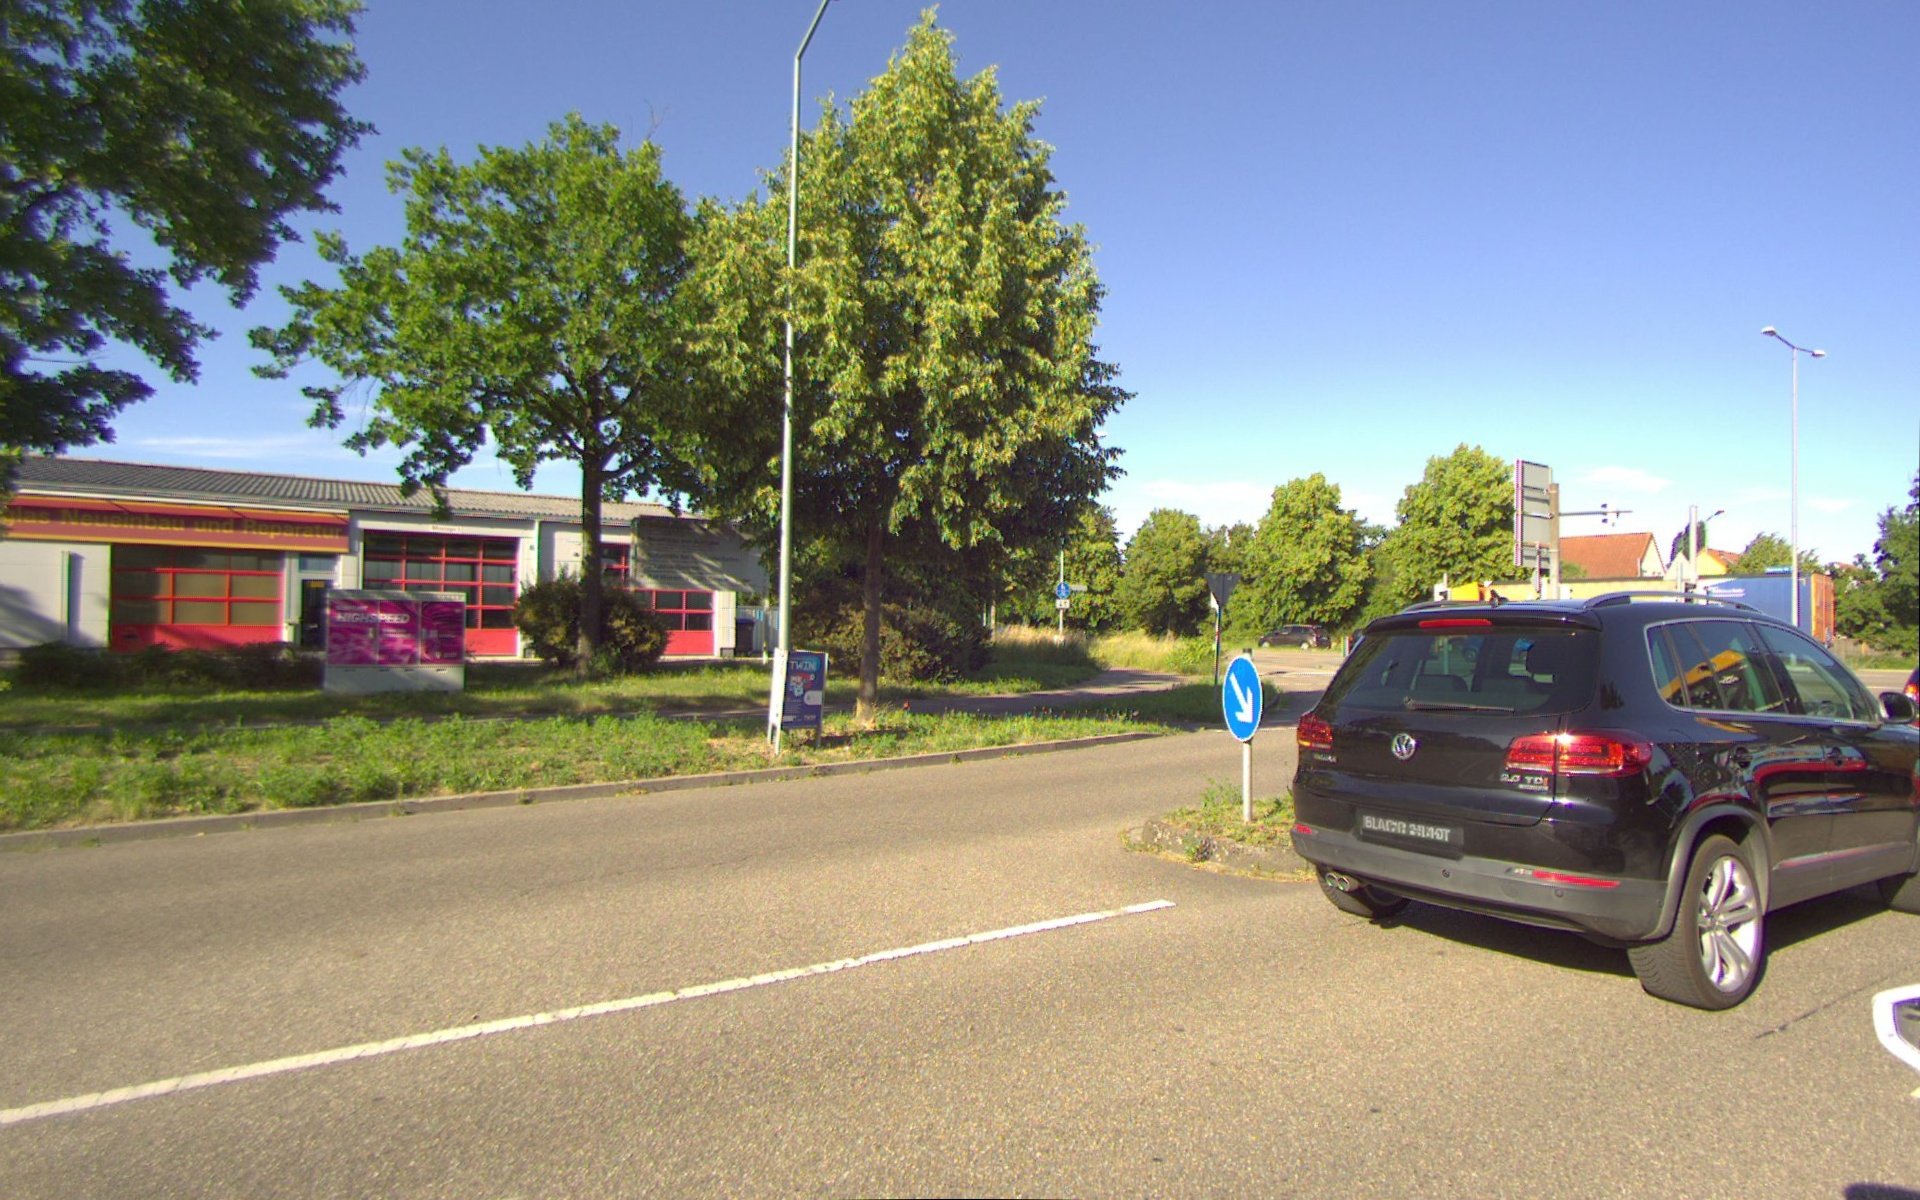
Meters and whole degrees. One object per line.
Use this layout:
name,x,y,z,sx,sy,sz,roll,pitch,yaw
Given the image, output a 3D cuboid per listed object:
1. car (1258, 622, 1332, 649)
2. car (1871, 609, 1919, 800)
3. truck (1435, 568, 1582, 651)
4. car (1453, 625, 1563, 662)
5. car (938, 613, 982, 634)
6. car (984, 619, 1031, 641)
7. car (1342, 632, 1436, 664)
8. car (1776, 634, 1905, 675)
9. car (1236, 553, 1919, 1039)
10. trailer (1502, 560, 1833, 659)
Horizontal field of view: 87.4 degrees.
car,19.686,2.068,59.124,1.550,1.461,3.960,2,-1,-35
car,10.228,0.897,9.224,3.988,1.642,1.744,0,-1,-32
truck,28.634,0.533,52.690,2.449,4.051,6.354,1,-1,-36
car,23.731,1.868,43.605,1.668,1.403,3.817,2,-1,-38
car,-0.022,2.136,91.180,1.982,1.737,3.957,2,-1,-37
car,3.827,2.426,81.864,1.680,1.573,3.959,2,-1,-36
car,20.308,2.251,47.660,1.494,1.330,3.817,2,-1,-38
car,38.227,2.341,43.688,1.678,1.633,3.961,1,-1,-35
car,3.547,0.788,5.324,3.957,1.695,1.812,2,-3,-31
trailer,32.526,0.482,47.219,2.446,4.083,12.647,1,-1,-35
